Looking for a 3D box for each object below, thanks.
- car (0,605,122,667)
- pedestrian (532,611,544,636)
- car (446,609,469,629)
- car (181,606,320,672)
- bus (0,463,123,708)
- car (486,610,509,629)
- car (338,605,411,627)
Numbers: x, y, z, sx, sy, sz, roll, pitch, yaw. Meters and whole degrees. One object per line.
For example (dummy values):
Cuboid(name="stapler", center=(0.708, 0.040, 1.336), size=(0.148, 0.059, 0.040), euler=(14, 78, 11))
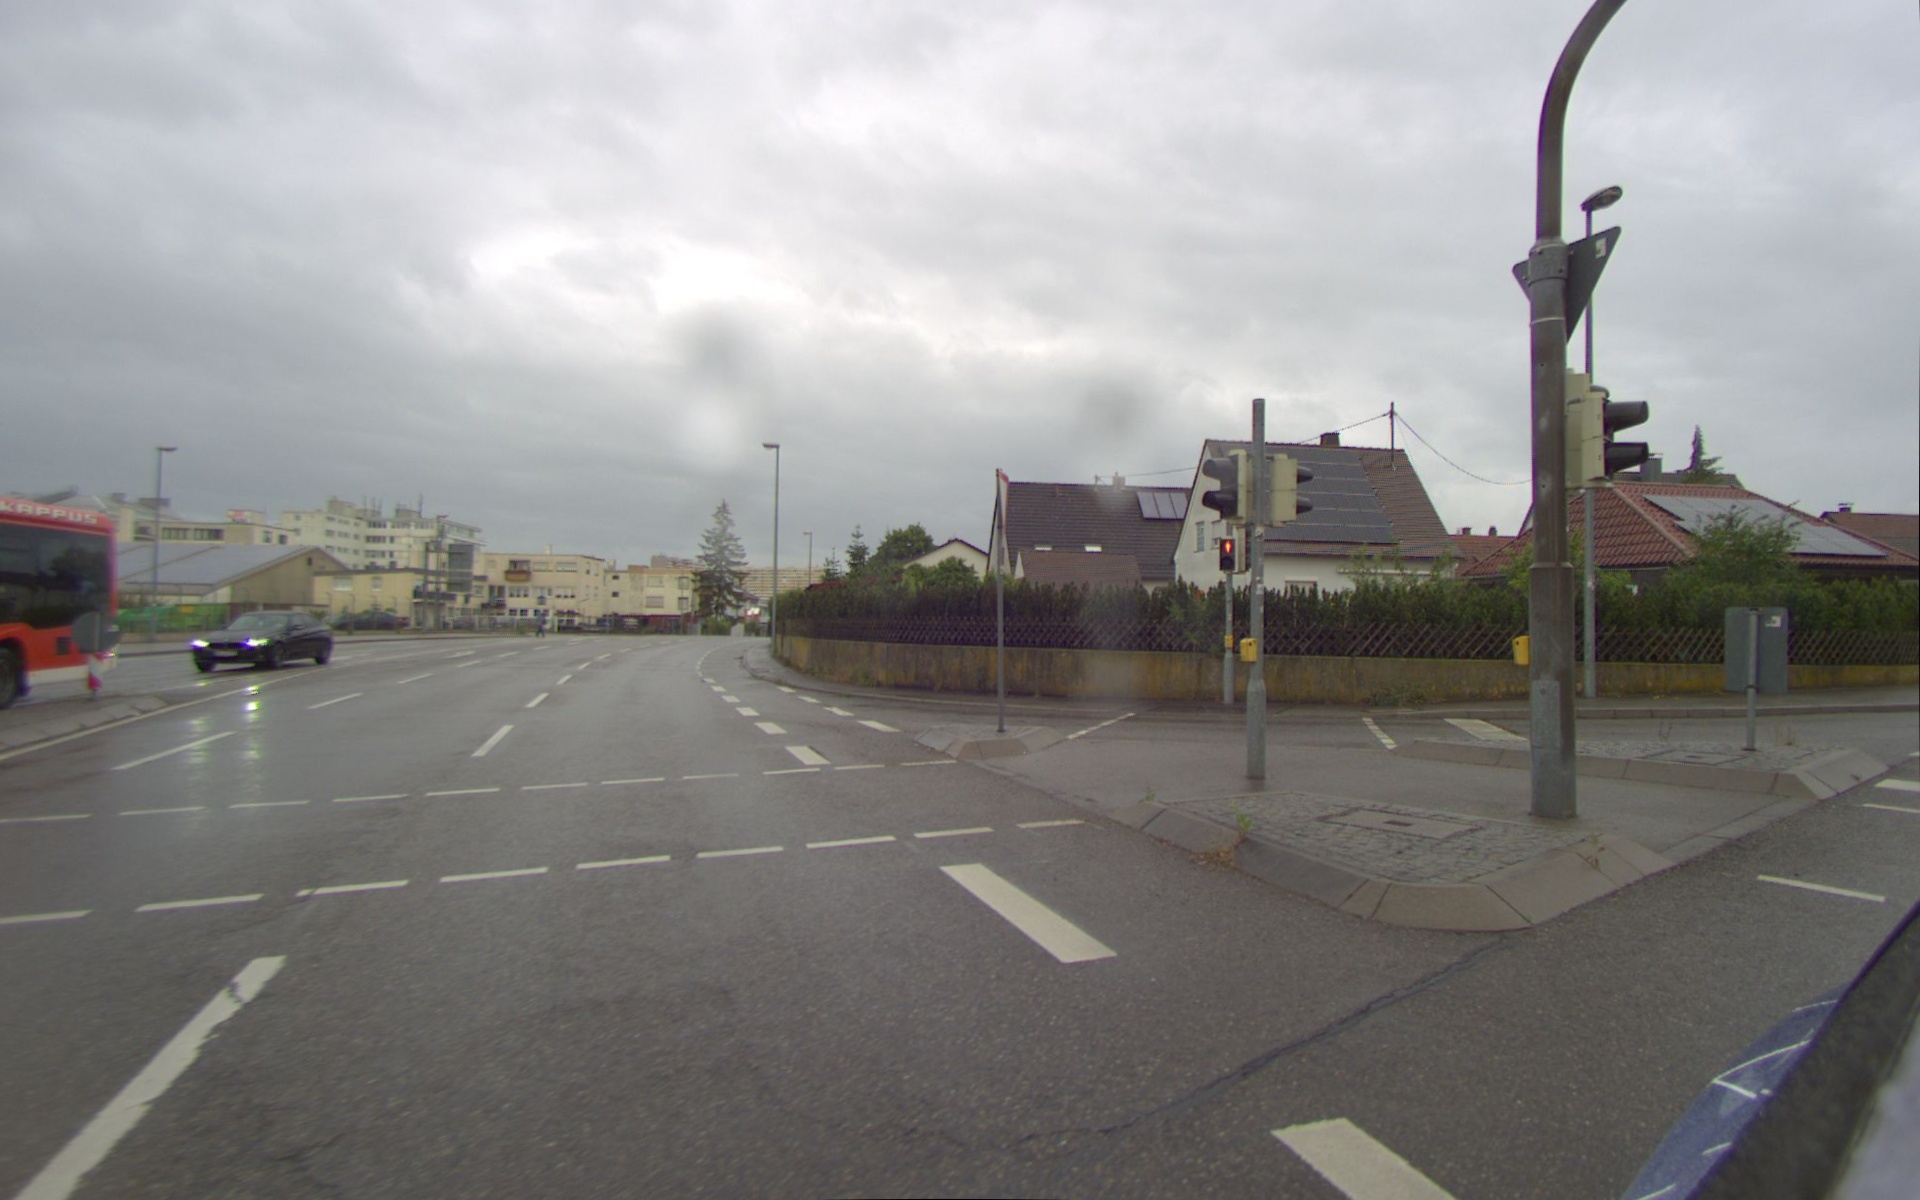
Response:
Cuboid(name="car", center=(-25.523, 0.950, 28.102), size=(1.832, 1.527, 3.988), euler=(0, 1, -12))
Cuboid(name="pedestrian", center=(-28.400, 1.591, 68.160), size=(0.684, 1.686, 0.678), euler=(0, -1, -26))
Cuboid(name="car", center=(-48.185, 1.803, 97.110), size=(1.959, 1.750, 4.006), euler=(0, 0, -25))
Cuboid(name="car", center=(-18.503, 0.955, 26.596), size=(1.814, 1.516, 4.008), euler=(0, 1, -17))
Cuboid(name="bus", center=(-14.835, -0.277, 12.043), size=(2.924, 3.623, 12.313), euler=(0, -1, -17))
Cuboid(name="car", center=(-44.862, 1.869, 98.084), size=(1.959, 1.750, 4.006), euler=(0, 0, -25))
Cuboid(name="car", center=(-40.150, 1.059, 69.464), size=(3.917, 1.471, 2.003), euler=(0, 0, -11))
